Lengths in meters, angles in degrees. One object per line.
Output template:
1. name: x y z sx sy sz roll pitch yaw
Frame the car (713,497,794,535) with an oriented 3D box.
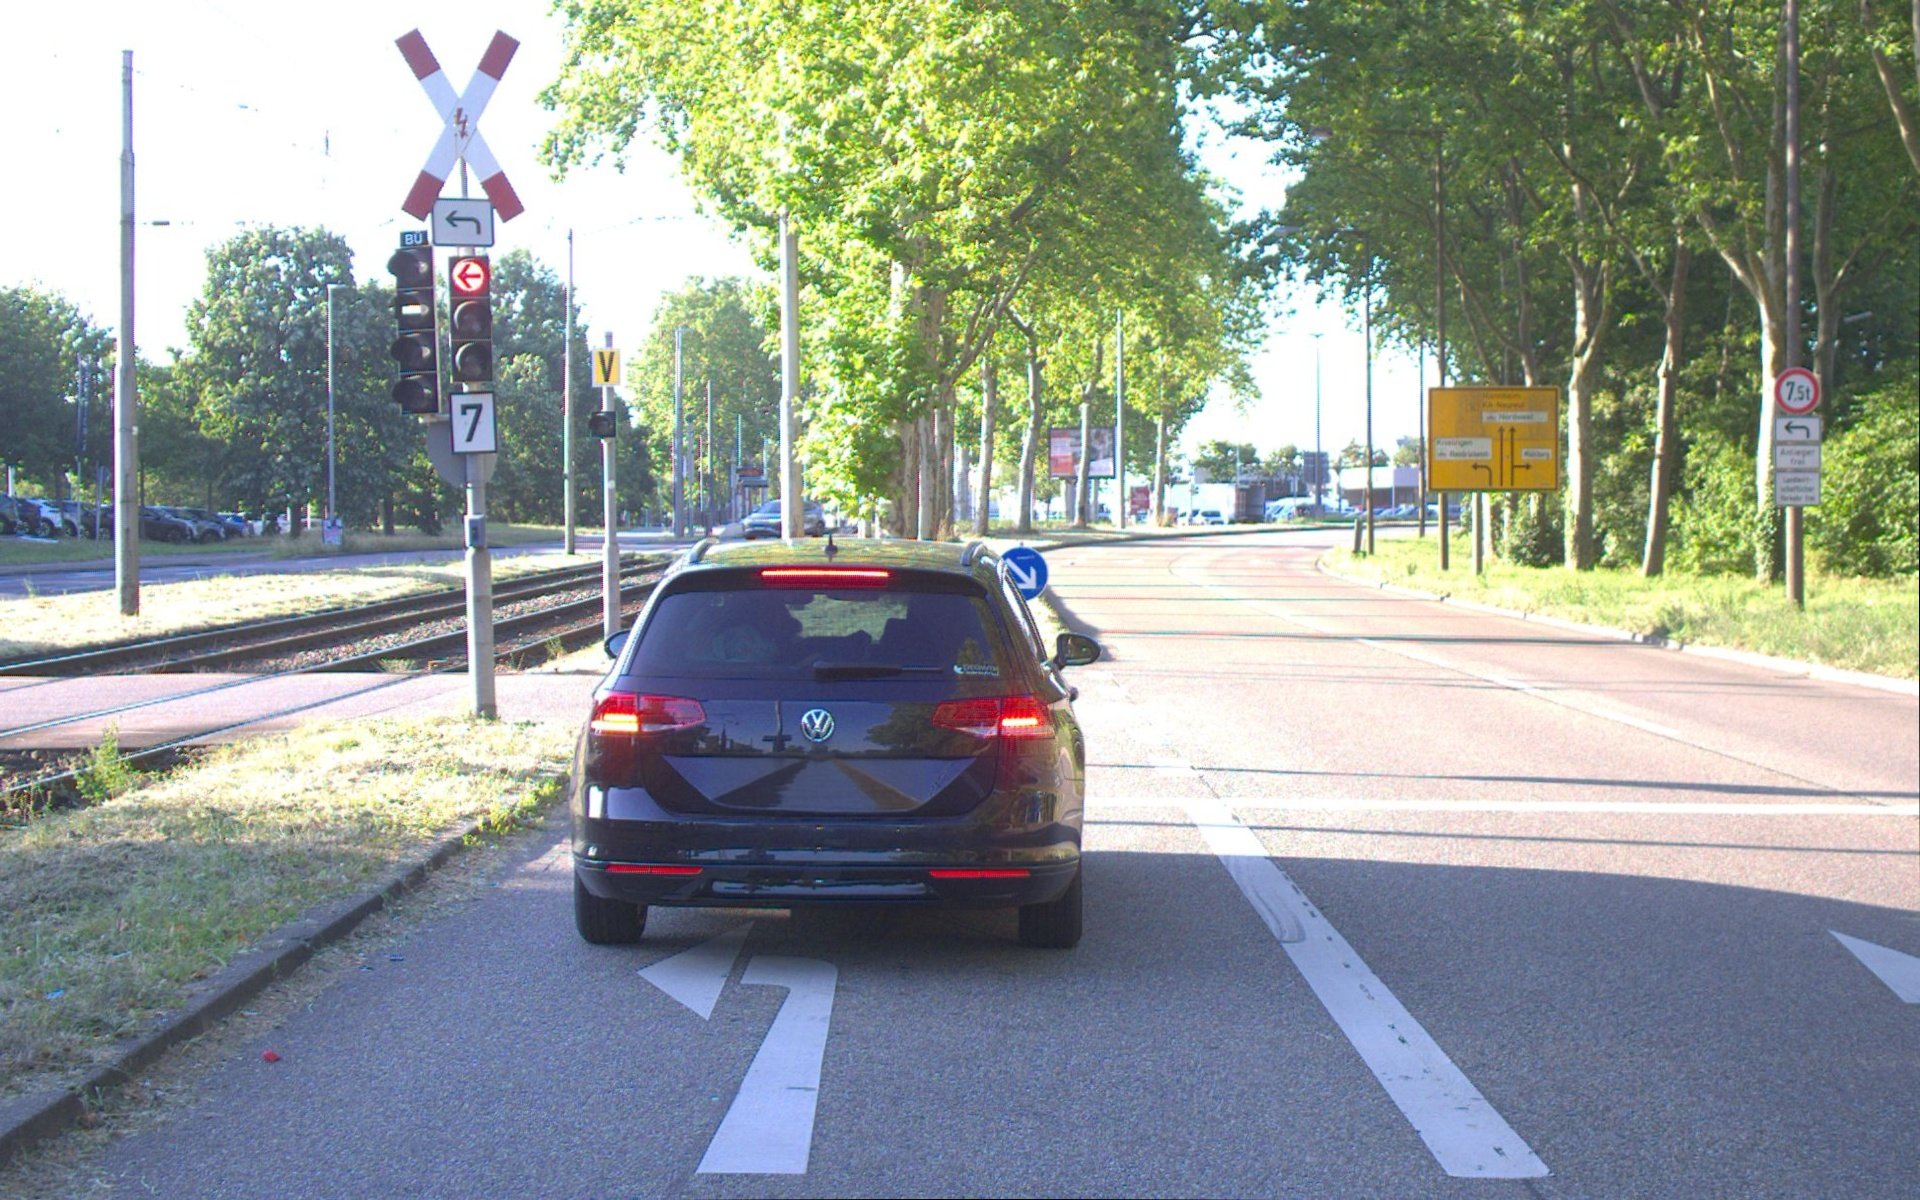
1. car: -8.434 -3.436 140.573 1.864 1.476 4.168 1 2 18

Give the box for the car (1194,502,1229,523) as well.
1. car: 17.411 -6.058 238.013 1.861 1.476 4.092 0 1 -4

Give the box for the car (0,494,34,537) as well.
1. car: -35.762 -3.078 124.619 3.986 1.550 1.744 0 1 -6

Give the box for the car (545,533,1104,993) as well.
1. car: -0.460 0.497 12.956 1.795 1.459 3.583 1 1 -1

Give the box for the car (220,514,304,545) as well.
1. car: -35.461 -3.579 174.737 3.986 1.550 1.744 0 1 -4

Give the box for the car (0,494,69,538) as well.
1. car: -35.511 -3.139 128.545 3.986 1.615 1.744 0 1 -4
